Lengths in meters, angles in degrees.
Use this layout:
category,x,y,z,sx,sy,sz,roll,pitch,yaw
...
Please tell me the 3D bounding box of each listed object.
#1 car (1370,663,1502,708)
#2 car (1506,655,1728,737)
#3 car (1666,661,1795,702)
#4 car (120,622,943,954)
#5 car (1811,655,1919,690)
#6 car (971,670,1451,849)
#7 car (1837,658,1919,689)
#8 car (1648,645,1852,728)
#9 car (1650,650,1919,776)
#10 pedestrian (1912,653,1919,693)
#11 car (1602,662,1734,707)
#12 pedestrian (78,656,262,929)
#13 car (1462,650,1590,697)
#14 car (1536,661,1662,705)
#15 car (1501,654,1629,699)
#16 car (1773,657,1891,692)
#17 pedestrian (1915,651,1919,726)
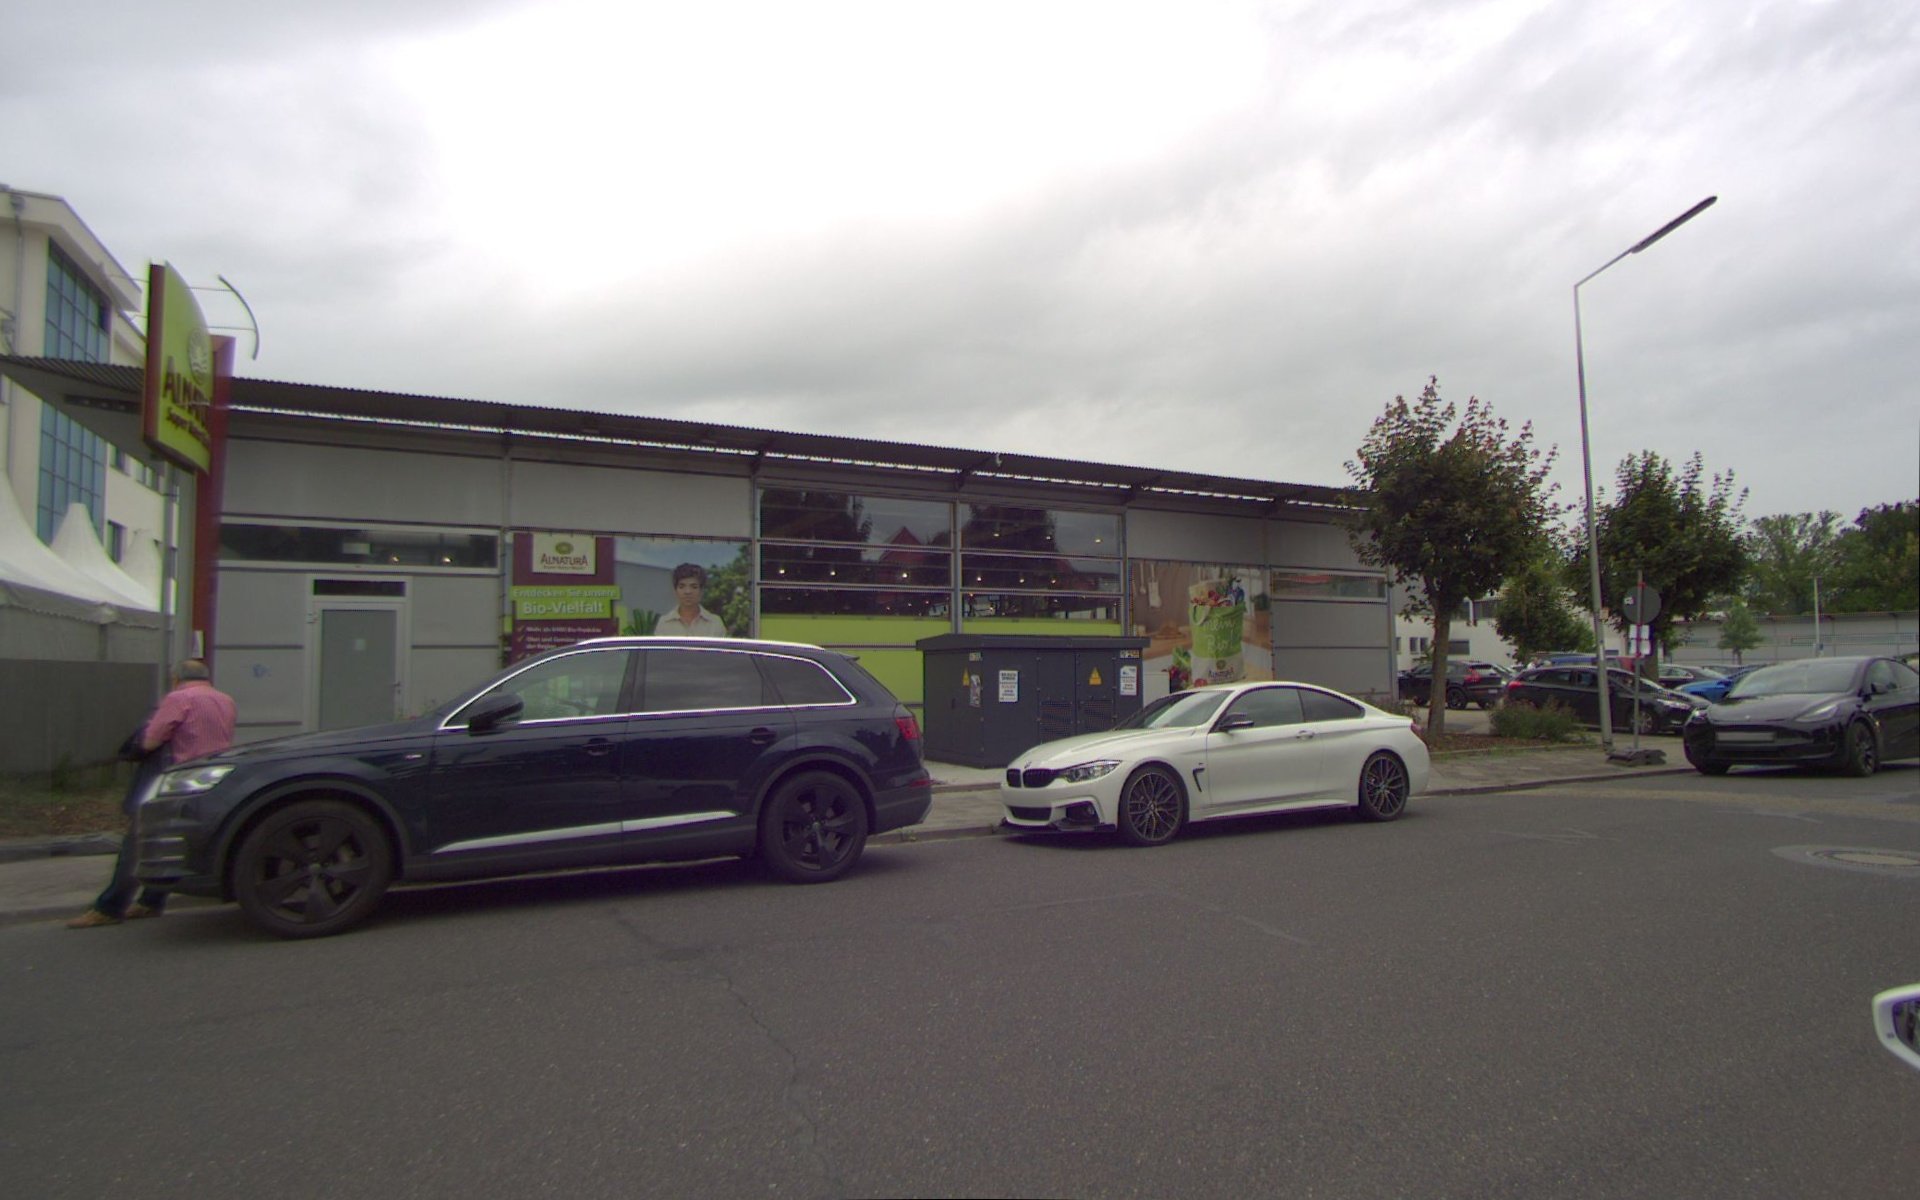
category,x,y,z,sx,sy,sz,roll,pitch,yaw
car,16.800,2.988,35.484,3.935,1.504,1.871,-3,-4,35
car,14.932,2.120,23.052,1.902,1.641,3.862,1,-3,-25
car,33.260,3.496,43.482,1.851,1.690,3.976,1,-4,-26
car,-2.635,1.136,7.113,4.665,1.712,1.861,1,-7,-26
car,45.331,3.597,50.074,1.851,1.690,3.976,1,-4,-26
car,2.488,1.452,9.770,4.460,1.384,1.694,2,-9,-27
car,47.618,3.730,51.237,1.762,1.511,3.977,1,-4,-25
car,21.070,2.281,26.954,1.742,2.039,3.909,2,-5,-33
car,12.130,1.581,14.284,4.348,1.545,1.941,2,-8,-28
pedestrian,39.479,2.997,41.249,0.372,1.663,0.451,3,-4,-43
car,28.759,3.411,40.952,1.851,1.690,3.976,1,-4,-26
pedestrian,-5.155,1.227,6.583,0.642,1.641,0.675,-5,-8,27
car,21.898,2.846,39.048,1.851,1.690,3.976,1,-4,-26
car,26.158,3.383,41.278,1.851,1.690,3.976,1,-4,-26
car,24.073,3.021,40.101,1.851,1.690,3.976,1,-4,-26
car,43.017,3.667,49.639,1.851,1.690,3.976,1,-4,-26
pedestrian,22.832,2.059,23.311,0.689,1.737,0.771,2,-3,-30
